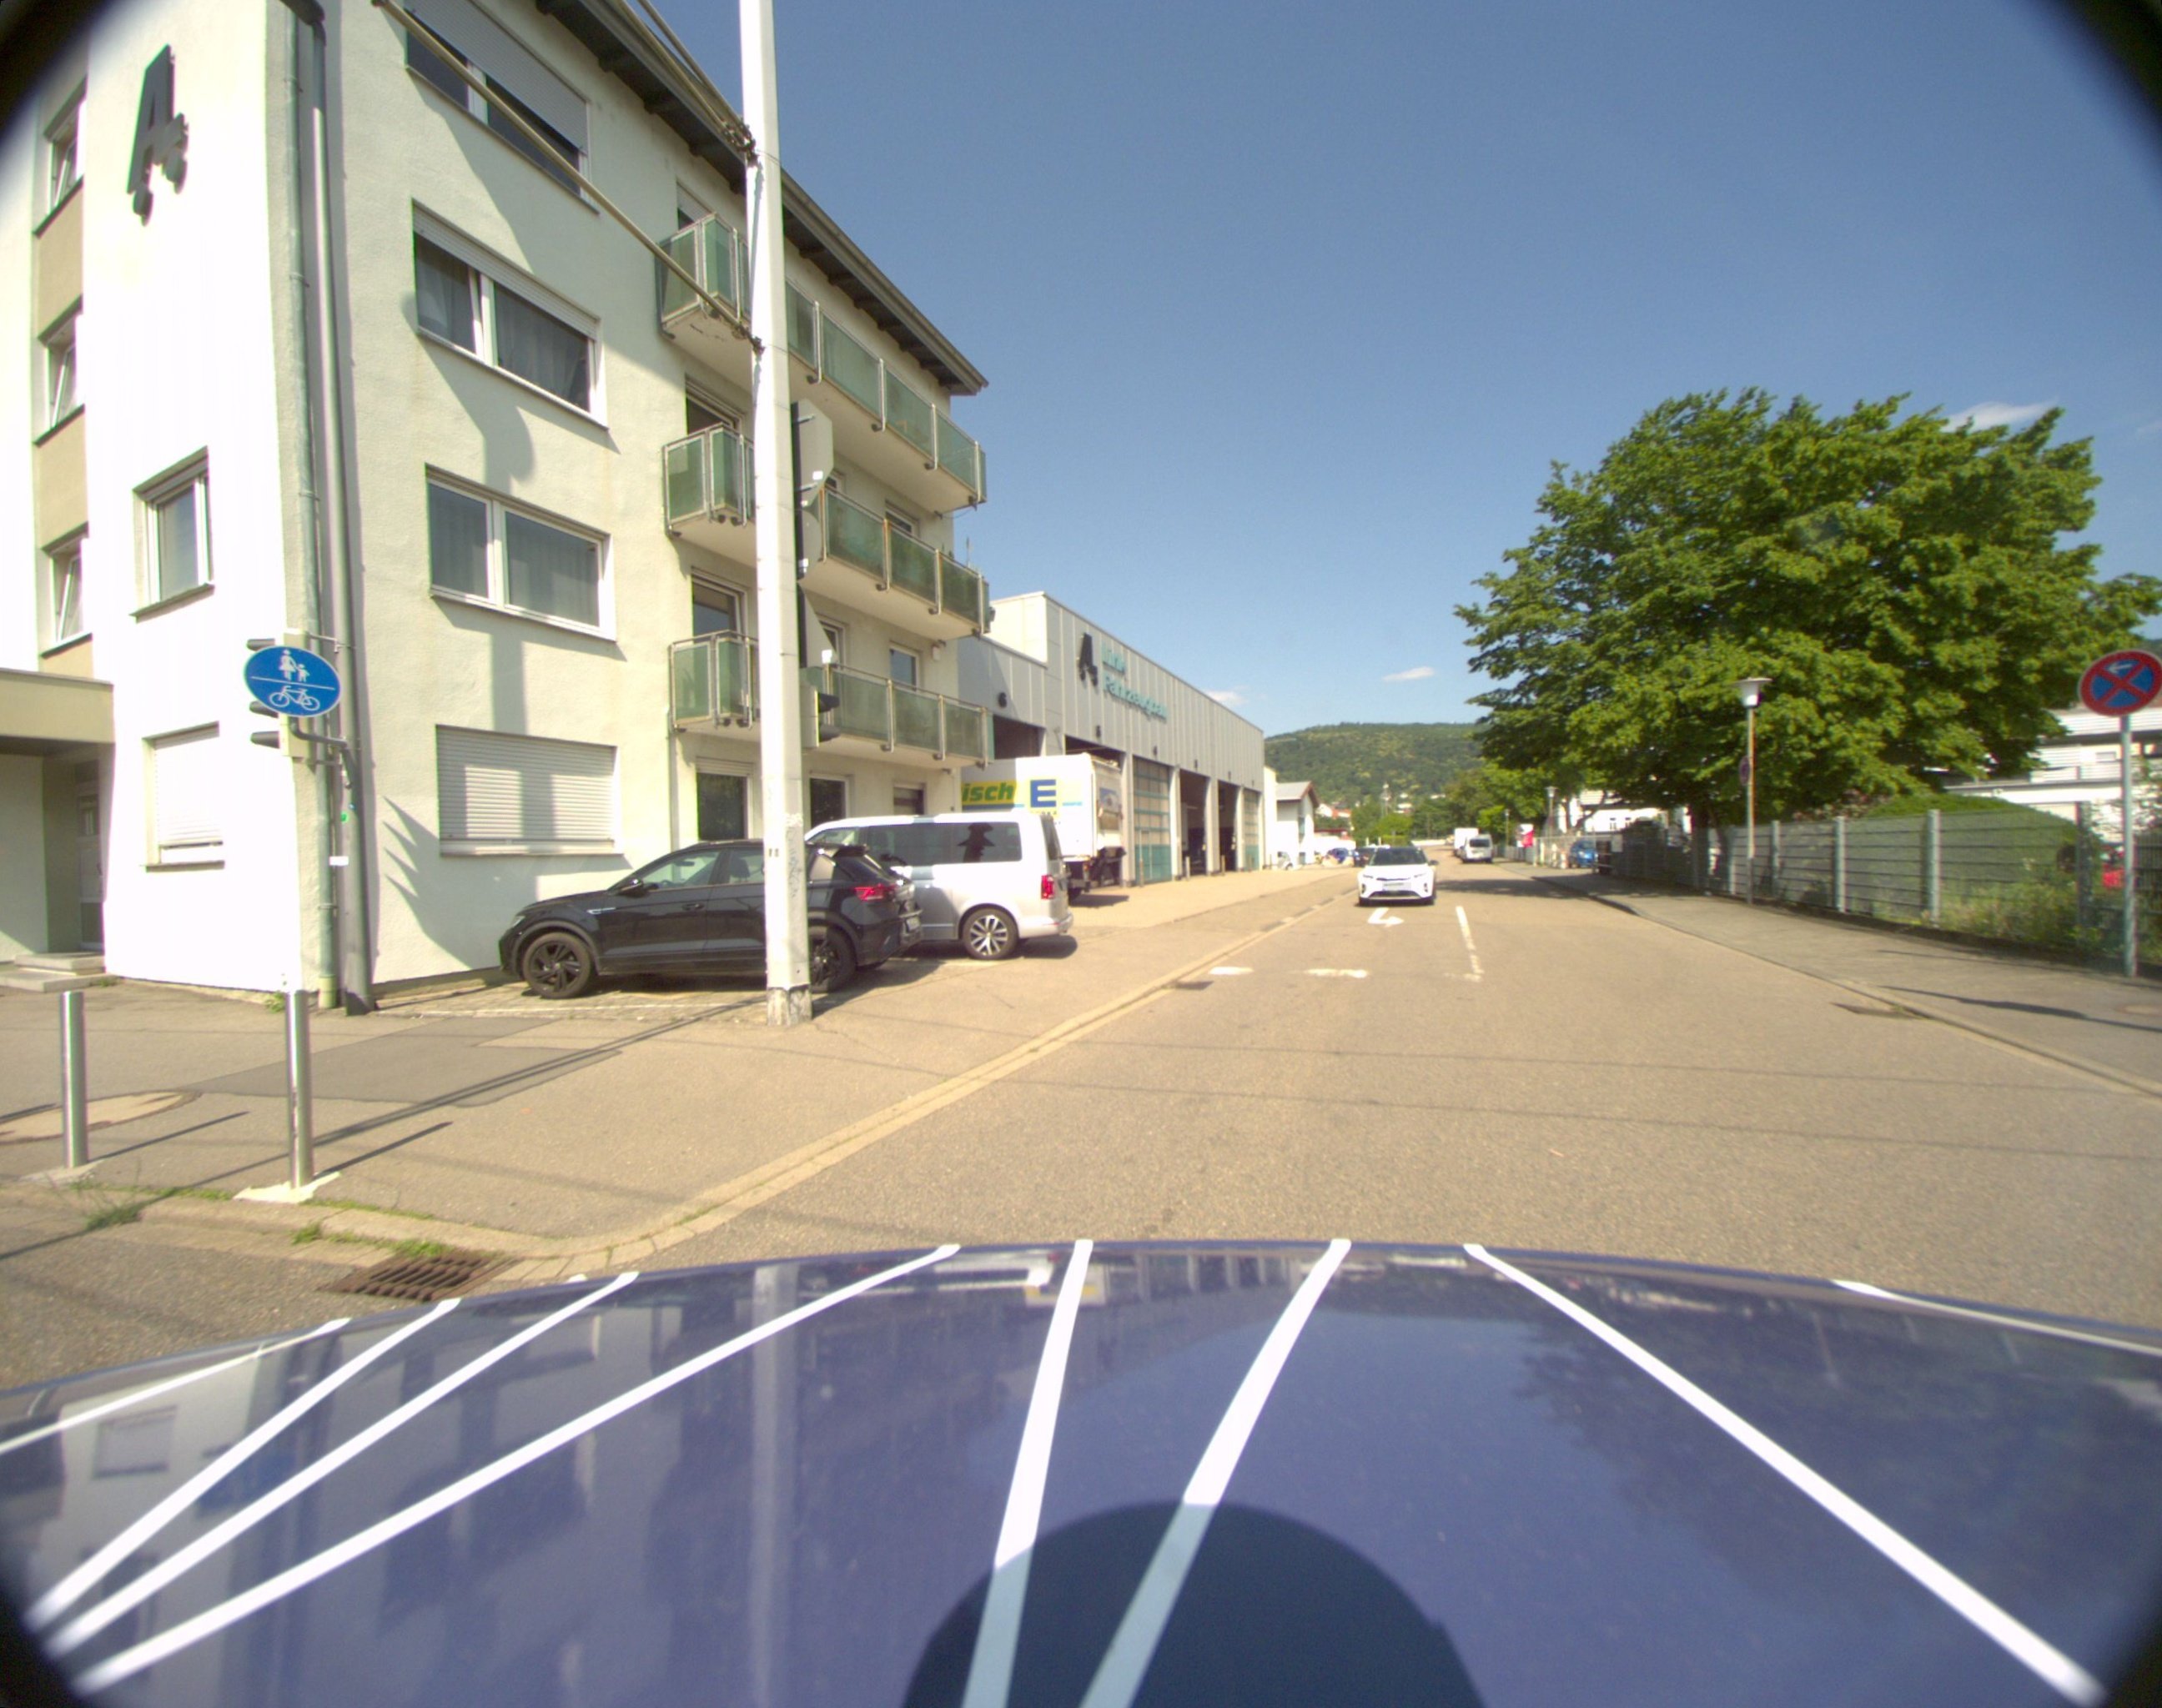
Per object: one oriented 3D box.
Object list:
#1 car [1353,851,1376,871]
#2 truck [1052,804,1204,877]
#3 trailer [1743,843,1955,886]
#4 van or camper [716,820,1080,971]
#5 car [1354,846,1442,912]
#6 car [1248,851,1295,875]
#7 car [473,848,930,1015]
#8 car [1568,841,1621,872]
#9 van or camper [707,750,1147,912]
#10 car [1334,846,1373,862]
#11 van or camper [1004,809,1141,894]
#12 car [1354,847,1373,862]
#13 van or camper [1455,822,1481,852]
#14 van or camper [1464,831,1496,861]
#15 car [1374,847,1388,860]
[{"bbox_3d":[20.788,0.481,55.757,1.450,1.371,3.191,-1,1,22],"label":"car"},{"bbox_3d":[2.535,-0.663,41.686,7.841,3.760,2.629,-1,1,26],"label":"truck"},{"bbox_3d":[18.470,0.253,18.465,3.284,0.934,1.615,-1,1,27],"label":"trailer"},{"bbox_3d":[-2.393,0.548,10.707,4.550,1.897,2.001,-1,0,5],"label":"van or camper"},{"bbox_3d":[8.472,0.583,20.109,1.733,1.521,4.116,-1,1,28],"label":"car"},{"bbox_3d":[13.101,0.609,52.215,2.826,1.524,1.311,-1,-1,-21],"label":"car"},{"bbox_3d":[-3.843,0.744,8.261,3.970,1.512,1.880,-1,1,0],"label":"car"},{"bbox_3d":[26.921,0.101,39.948,1.642,1.449,3.530,-4,0,24],"label":"car"},{"bbox_3d":[-4.272,-0.434,20.383,11.613,3.672,2.784,-1,1,19],"label":"van or camper"},{"bbox_3d":[23.226,0.015,64.678,2.970,1.332,1.455,-1,1,26],"label":"car"},{"bbox_3d":[-0.363,-0.073,30.674,5.047,3.187,2.003,-2,1,24],"label":"van or camper"},{"bbox_3d":[29.954,0.035,80.550,1.450,1.487,3.190,-4,0,14],"label":"car"},{"bbox_3d":[45.421,-1.944,89.273,2.521,3.351,5.600,-1,1,25],"label":"van or camper"},{"bbox_3d":[32.322,-0.671,61.677,2.025,2.363,4.693,0,1,25],"label":"van or camper"},{"bbox_3d":[36.680,-0.096,92.847,1.450,1.371,3.191,-4,0,22],"label":"car"}]
